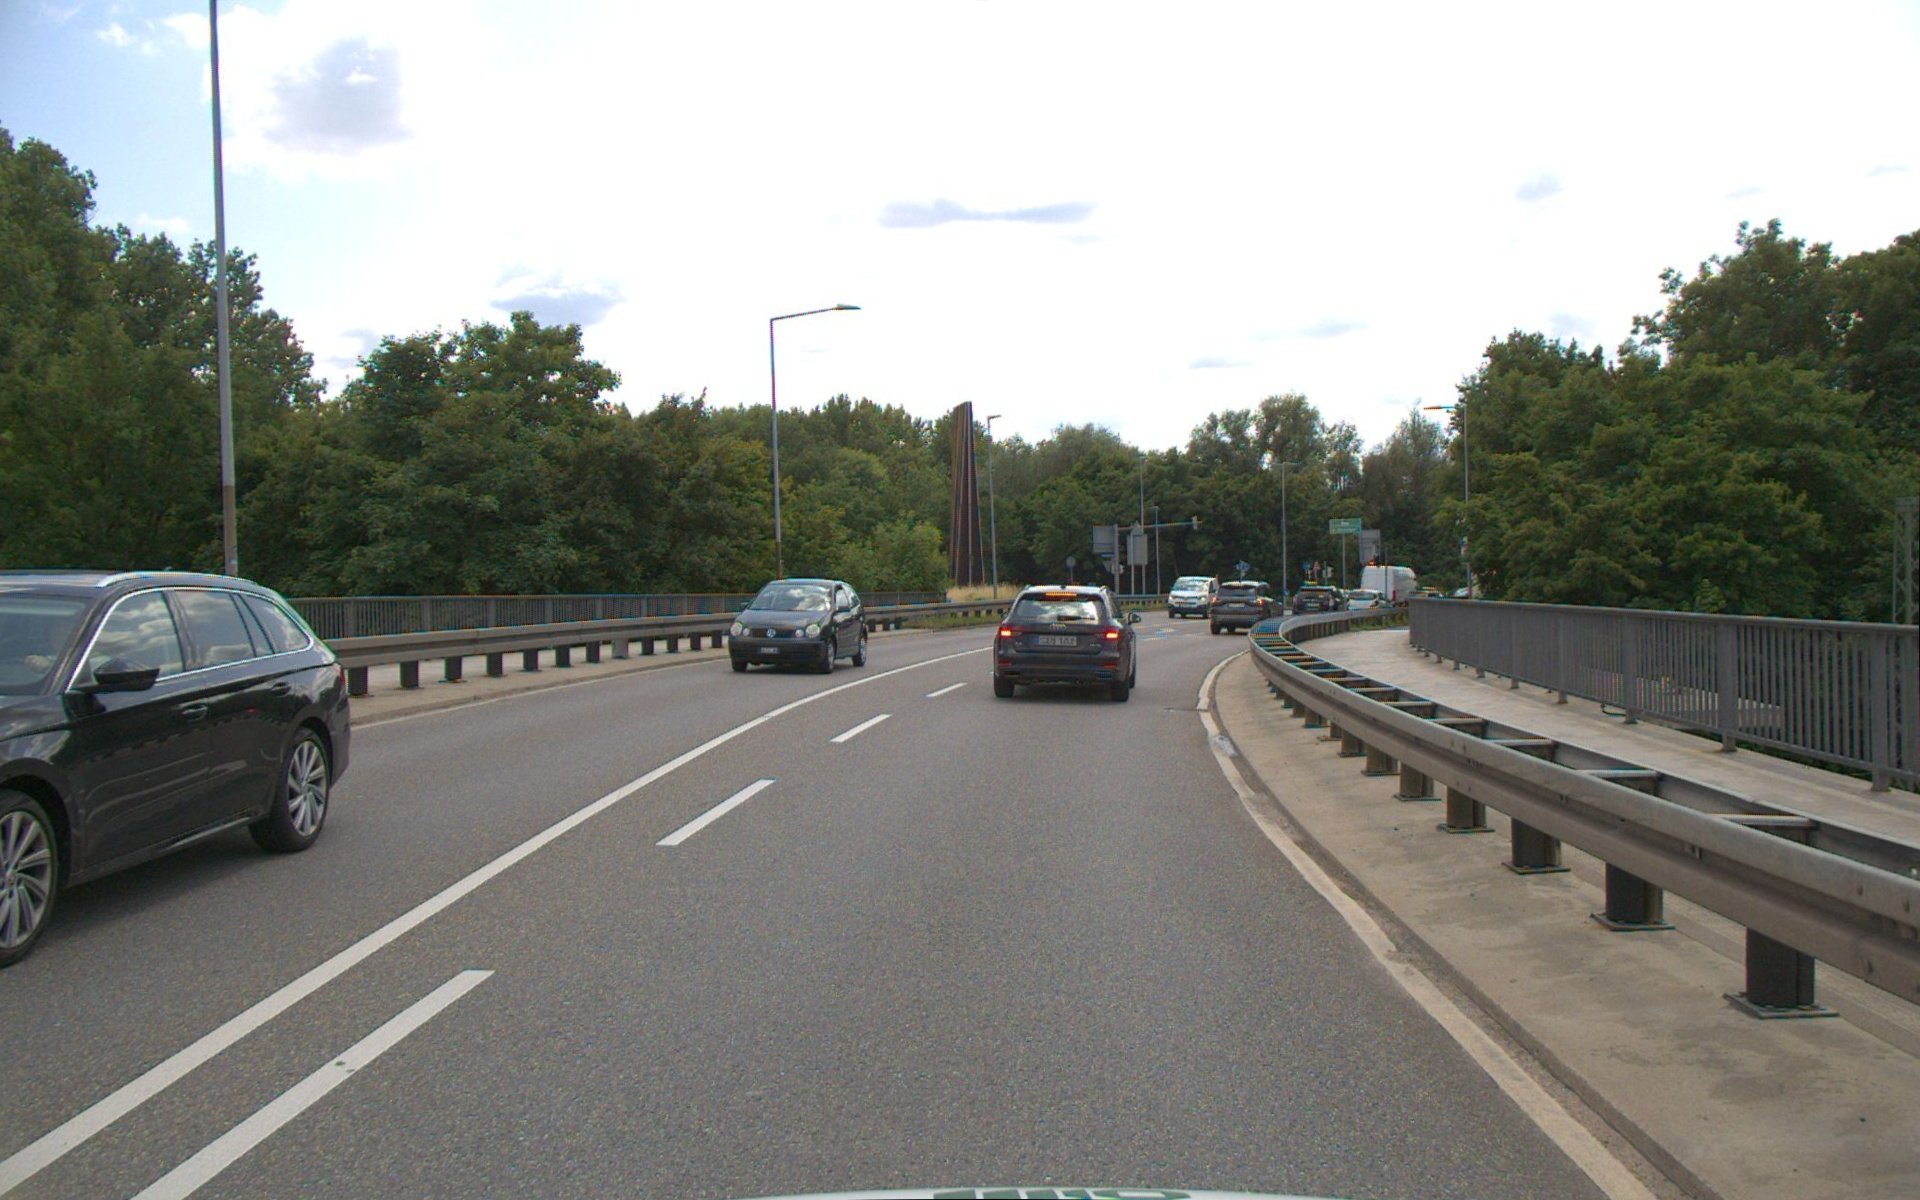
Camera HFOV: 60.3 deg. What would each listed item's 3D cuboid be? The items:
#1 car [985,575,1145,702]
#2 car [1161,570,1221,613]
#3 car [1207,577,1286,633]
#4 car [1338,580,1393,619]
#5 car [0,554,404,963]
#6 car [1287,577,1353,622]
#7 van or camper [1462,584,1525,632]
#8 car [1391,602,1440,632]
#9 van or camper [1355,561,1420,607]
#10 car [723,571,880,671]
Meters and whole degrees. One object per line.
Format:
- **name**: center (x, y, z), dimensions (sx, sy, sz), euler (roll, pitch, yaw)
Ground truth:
- **car**: center (1.522, 0.451, 22.511), dimensions (1.789, 1.517, 4.210), euler (1, 1, 9)
- **car**: center (10.333, -0.388, 73.772), dimensions (1.776, 1.784, 4.306), euler (2, 1, 20)
- **car**: center (9.189, 0.138, 52.861), dimensions (1.784, 1.680, 3.856), euler (2, 1, 20)
- **car**: center (18.056, -0.042, 73.578), dimensions (1.699, 1.680, 3.854), euler (1, 1, 24)
- **car**: center (-4.324, 0.535, 7.634), dimensions (1.779, 1.476, 4.739), euler (1, 1, 2)
- **car**: center (14.241, -0.029, 65.290), dimensions (1.699, 1.680, 3.853), euler (1, 1, 25)
- **van or camper**: center (30.300, 0.430, 93.810), dimensions (1.964, 2.635, 4.068), euler (2, 2, 40)
- **car**: center (22.783, 0.833, 82.655), dimensions (1.651, 1.422, 3.674), euler (1, 0, 28)
- **van or camper**: center (23.045, -0.895, 89.034), dimensions (2.229, 2.381, 5.234), euler (2, 2, 28)
- **car**: center (-2.514, 0.291, 27.128), dimensions (1.776, 1.477, 3.929), euler (1, 1, 6)
